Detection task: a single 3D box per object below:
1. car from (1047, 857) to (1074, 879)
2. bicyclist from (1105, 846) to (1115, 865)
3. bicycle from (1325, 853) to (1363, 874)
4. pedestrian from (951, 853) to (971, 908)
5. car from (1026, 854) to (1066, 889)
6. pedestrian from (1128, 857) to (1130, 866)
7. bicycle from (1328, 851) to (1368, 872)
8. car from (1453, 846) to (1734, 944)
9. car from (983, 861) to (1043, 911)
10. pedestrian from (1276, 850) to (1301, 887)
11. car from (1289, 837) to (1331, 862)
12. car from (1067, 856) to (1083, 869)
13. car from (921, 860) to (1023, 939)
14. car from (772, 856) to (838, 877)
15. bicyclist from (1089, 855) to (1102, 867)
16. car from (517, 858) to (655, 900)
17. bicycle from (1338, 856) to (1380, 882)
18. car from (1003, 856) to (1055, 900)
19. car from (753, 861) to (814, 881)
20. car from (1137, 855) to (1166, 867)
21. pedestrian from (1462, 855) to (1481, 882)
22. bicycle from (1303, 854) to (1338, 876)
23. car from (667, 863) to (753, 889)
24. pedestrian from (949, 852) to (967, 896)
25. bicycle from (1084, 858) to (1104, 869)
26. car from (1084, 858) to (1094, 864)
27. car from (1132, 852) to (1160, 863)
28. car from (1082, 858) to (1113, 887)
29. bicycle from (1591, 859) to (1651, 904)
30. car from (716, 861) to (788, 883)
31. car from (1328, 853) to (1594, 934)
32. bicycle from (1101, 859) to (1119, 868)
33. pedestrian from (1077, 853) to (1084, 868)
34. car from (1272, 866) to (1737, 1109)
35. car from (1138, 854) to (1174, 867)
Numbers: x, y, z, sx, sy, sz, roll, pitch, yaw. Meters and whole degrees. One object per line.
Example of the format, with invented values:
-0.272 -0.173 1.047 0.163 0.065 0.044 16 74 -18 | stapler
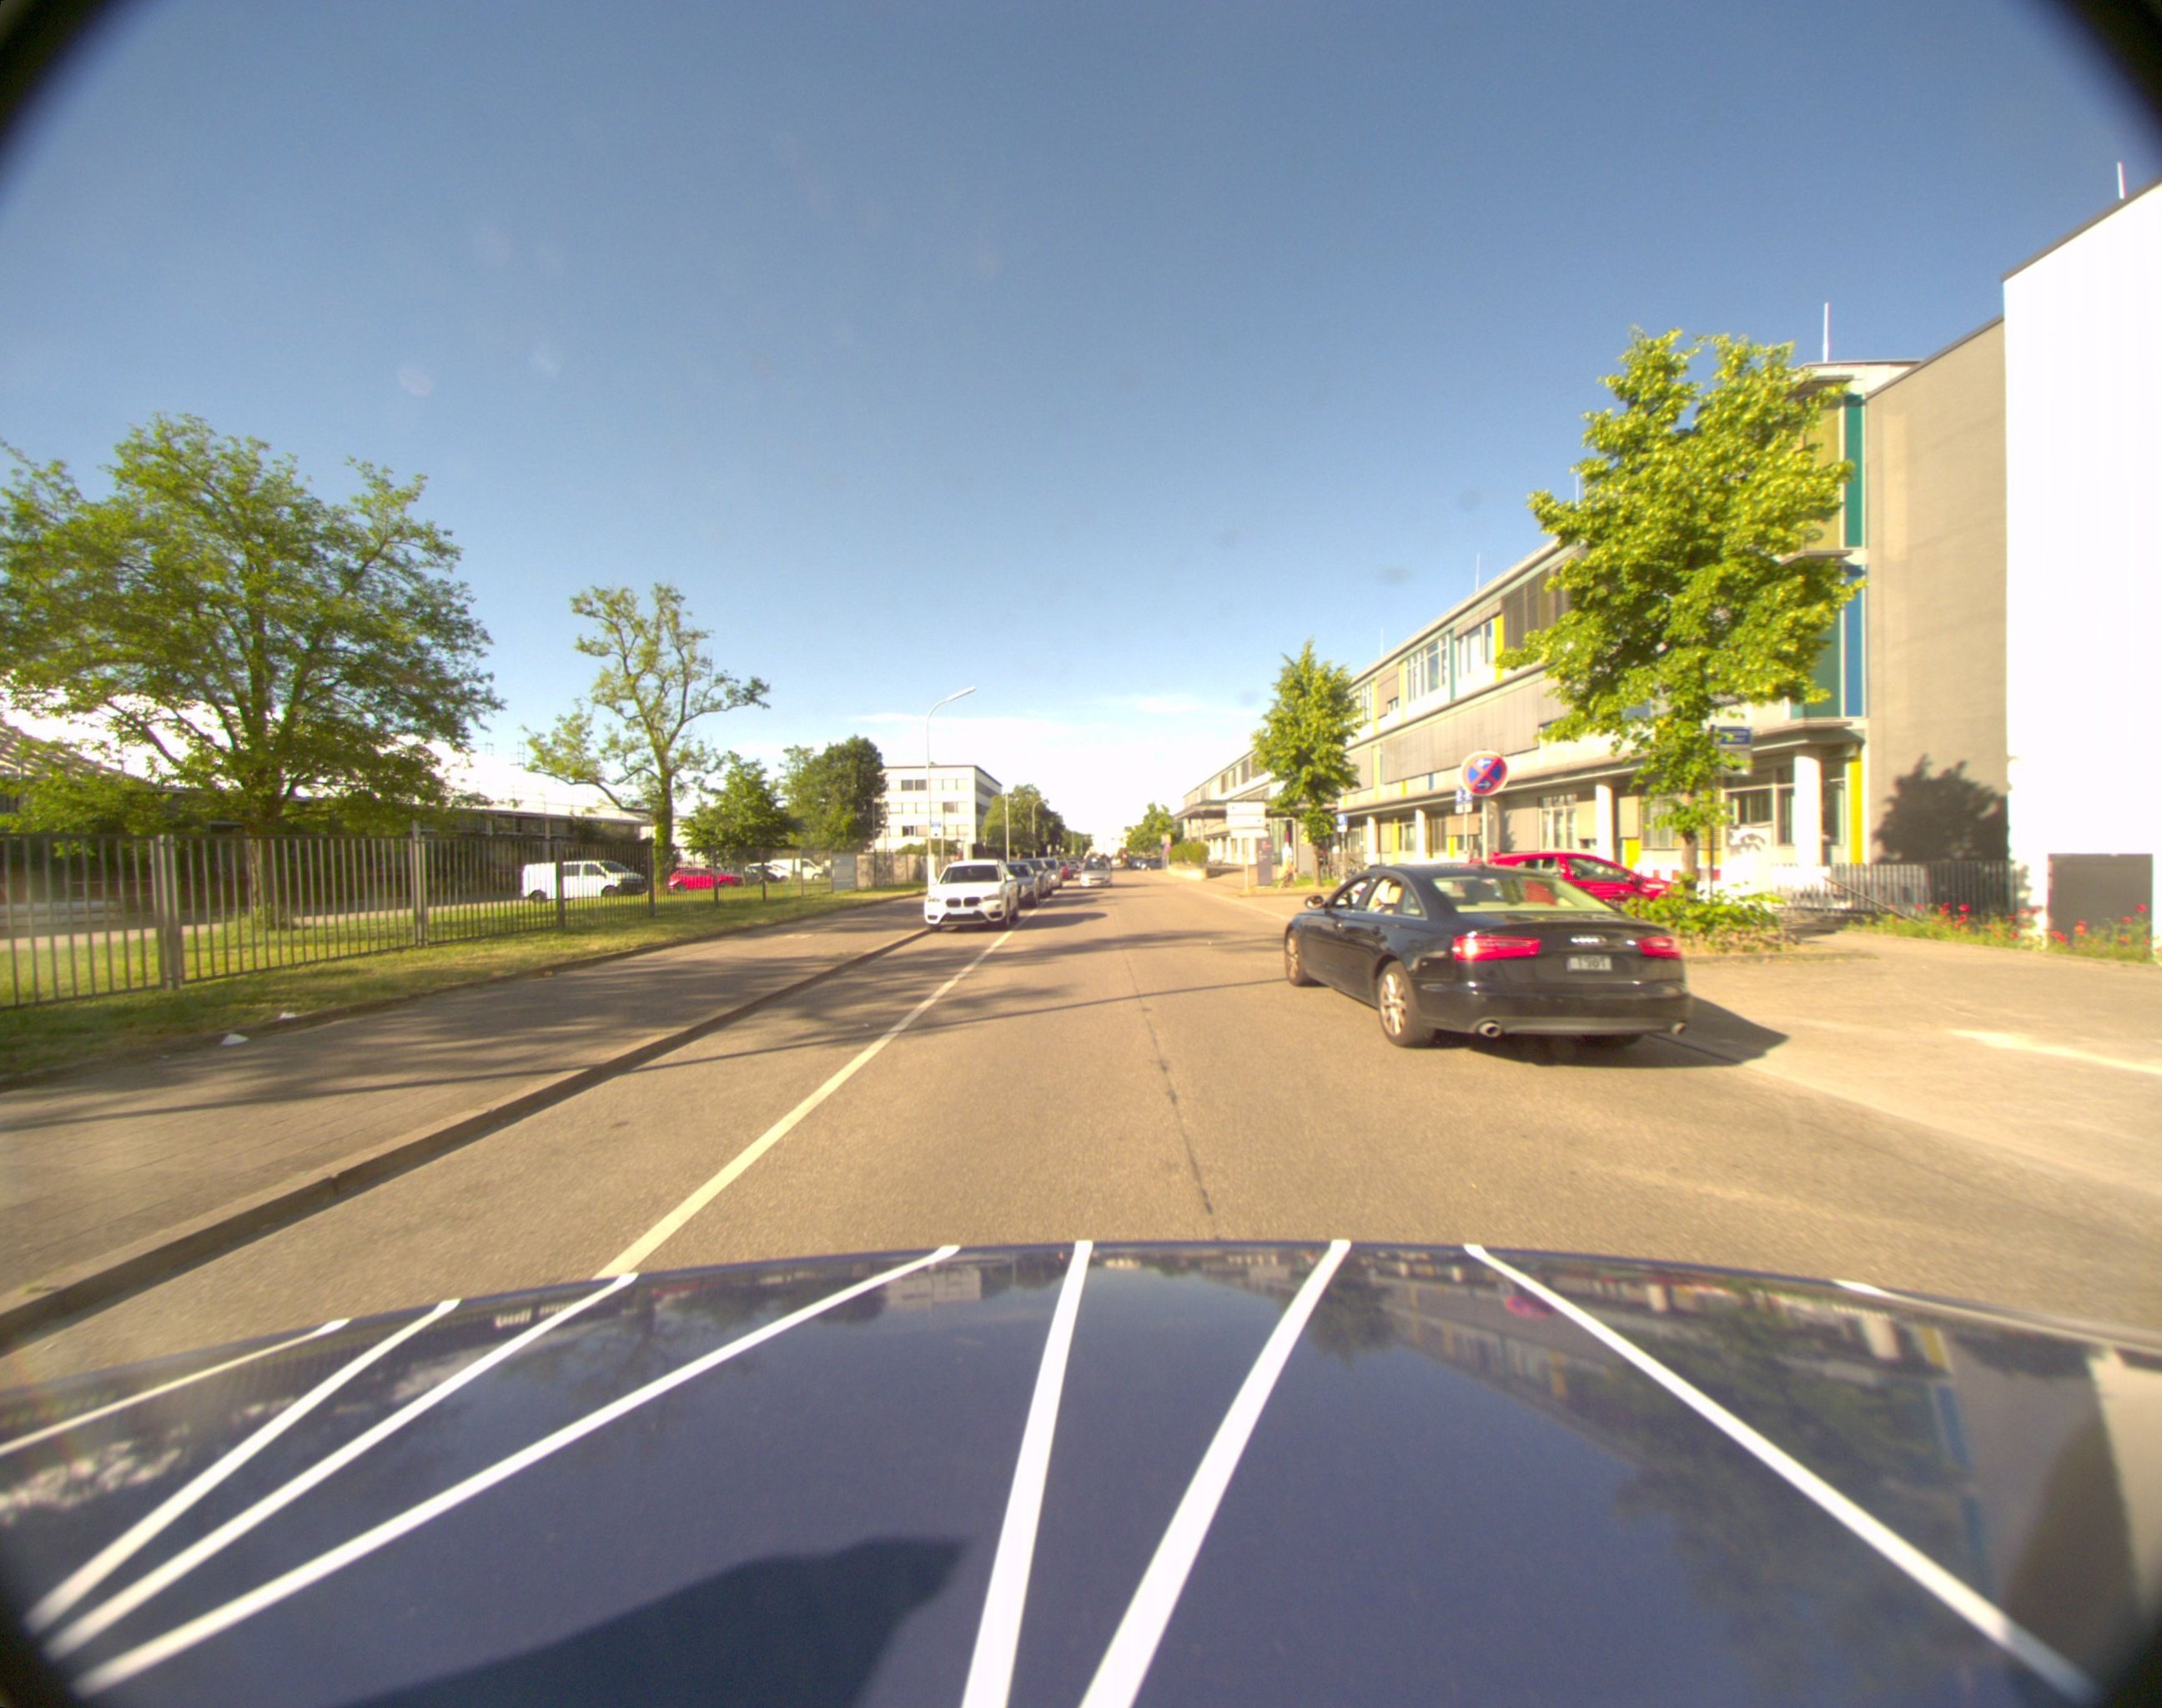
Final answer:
-1.516 1.016 57.526 1.813 1.501 4.722 -3 0 0 | car
3.183 0.188 83.856 1.052 2.002 0.959 -2 1 -1 | bicyclist
13.091 0.464 37.834 1.719 1.049 0.536 -1 0 0 | bicycle
-3.813 0.843 24.209 0.522 1.699 0.522 -3 1 -8 | pedestrian
-1.822 0.911 41.148 1.813 1.712 4.704 -3 0 0 | car
9.357 1.388 147.913 0.369 1.712 0.479 -3 5 -2 | pedestrian
12.899 0.348 36.751 1.719 0.968 0.536 -1 0 0 | bicycle
8.633 0.683 13.096 3.641 1.460 1.615 -2 0 8 | car
-2.252 1.025 26.118 1.705 1.479 3.980 -3 0 -1 | car
8.794 0.608 32.204 0.774 1.540 0.780 -3 1 2 | pedestrian
17.776 -0.353 59.258 1.924 1.880 4.711 -1 0 1 | car
-0.686 1.008 90.824 1.668 1.505 4.114 -3 0 2 | car
-2.491 0.992 18.386 1.817 1.579 4.262 -3 0 0 | car
-22.420 1.003 61.916 4.641 1.658 1.999 -1 0 -4 | car
1.530 0.731 78.399 1.098 1.261 0.863 -1 1 17 | bicyclist
-23.118 1.147 35.651 4.979 1.635 2.095 -3 0 -1 | car
12.580 0.676 34.468 1.706 1.115 0.536 -1 0 7 | bicycle
-2.099 0.948 31.874 1.705 1.597 4.353 -3 0 2 | car
-22.286 1.269 56.937 3.899 1.371 1.675 -1 0 -2 | car
10.159 0.938 109.440 3.991 1.480 1.823 -3 1 0 | car
17.375 0.635 33.824 0.533 1.166 0.556 -1 1 2 | pedestrian
12.739 0.582 40.483 1.720 1.117 0.536 -1 0 -8 | bicycle
-22.192 1.294 45.545 4.153 1.245 1.828 -3 0 -1 | car
-4.566 0.731 28.252 0.541 1.602 0.682 -3 1 -13 | pedestrian
1.364 0.976 78.499 1.899 1.136 0.668 -1 1 17 | bicycle
1.819 1.589 176.902 1.999 1.382 3.999 0 0 -3 | car
9.968 0.529 116.526 4.101 1.414 1.823 -3 1 0 | car
0.842 0.961 40.262 1.551 1.389 3.454 -1 0 0 | car
14.339 0.713 20.224 0.421 1.117 1.764 -1 0 2 | bicycle
-22.720 1.260 52.583 4.153 1.245 1.879 -3 0 -1 | car
7.588 0.770 15.525 4.522 1.359 1.700 -3 0 4 | car
3.195 1.045 83.844 1.884 1.003 0.701 -1 0 -1 | bicycle
-0.047 0.764 86.721 0.693 1.718 0.776 0 1 1 | pedestrian
3.266 0.885 7.087 1.766 1.433 4.537 -1 0 -1 | car
9.246 0.786 93.938 4.141 1.458 1.753 -2 0 0 | car
